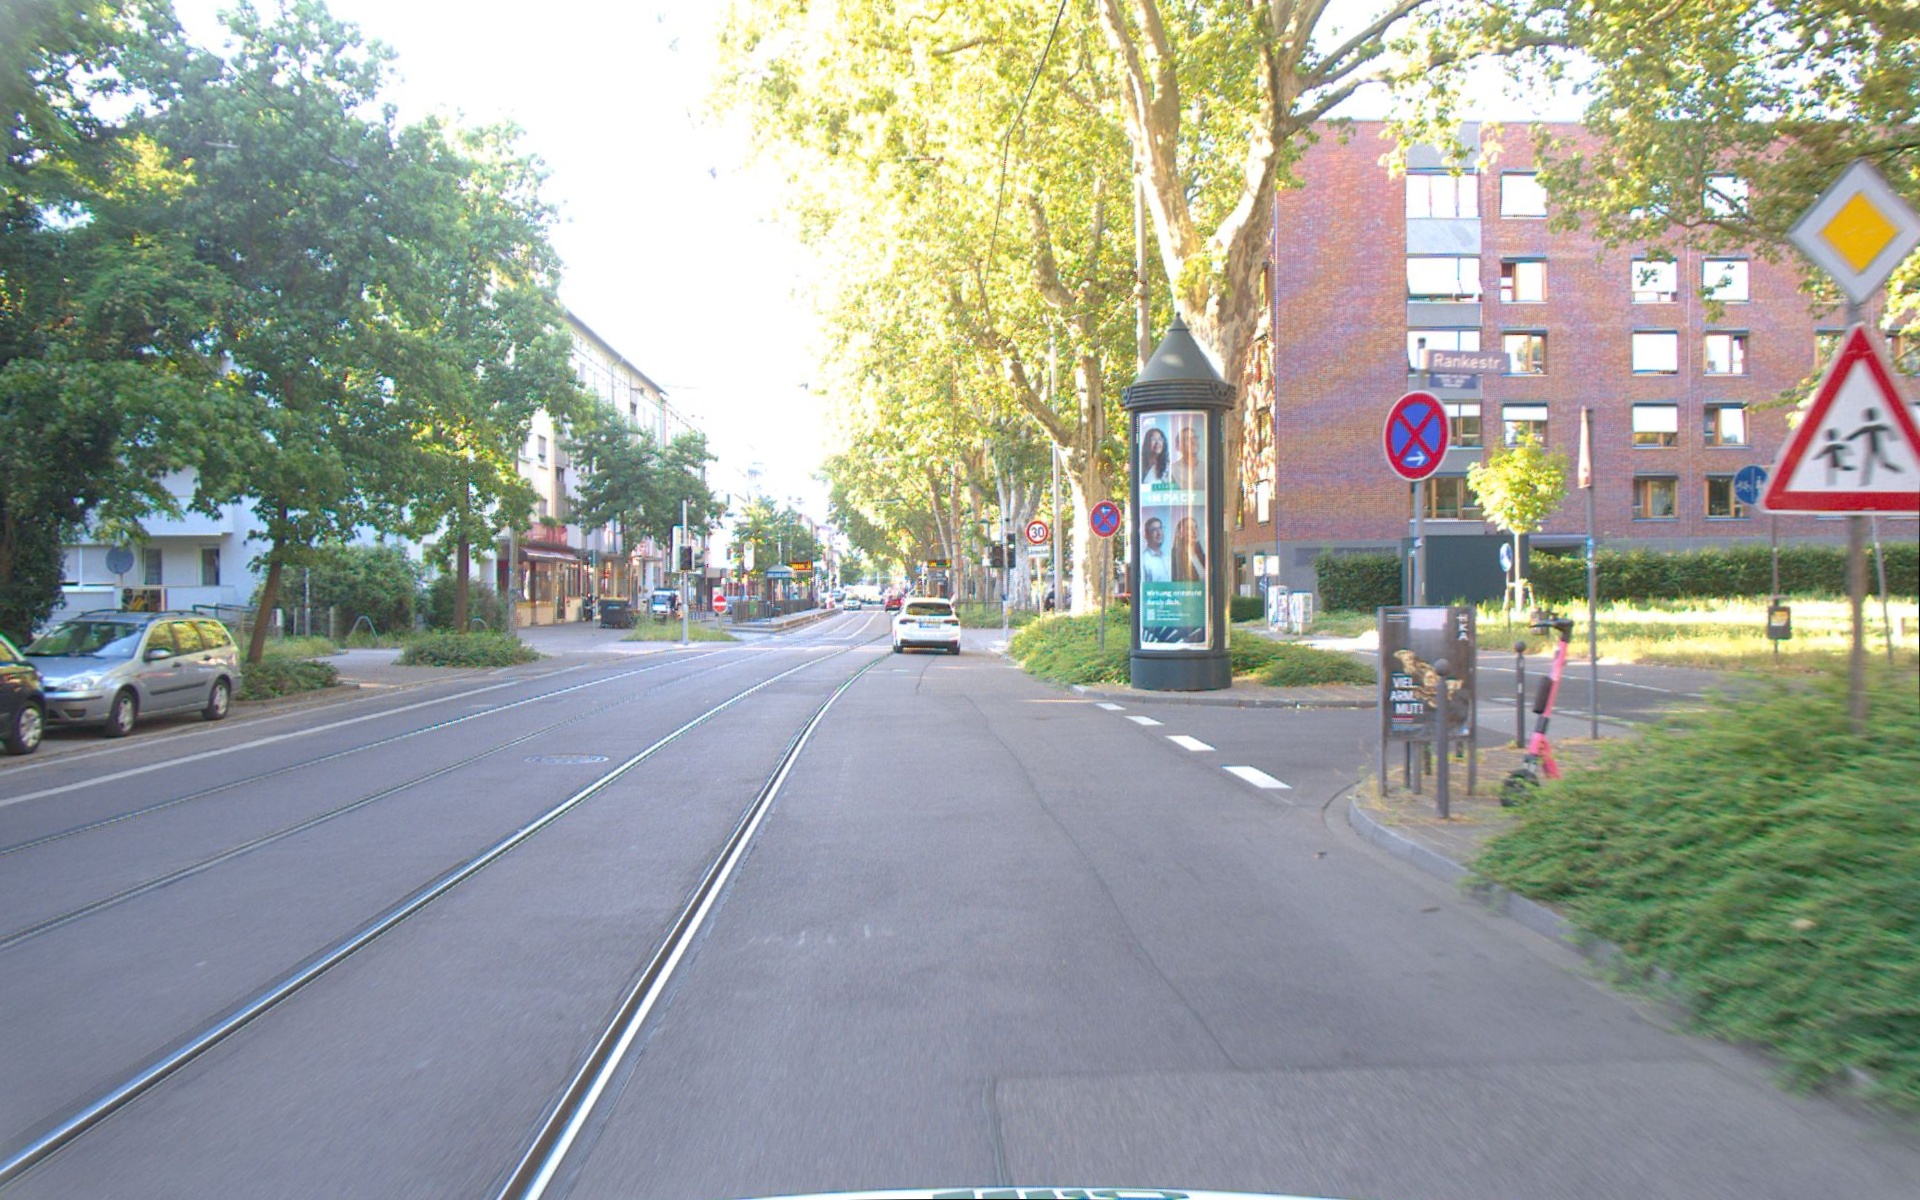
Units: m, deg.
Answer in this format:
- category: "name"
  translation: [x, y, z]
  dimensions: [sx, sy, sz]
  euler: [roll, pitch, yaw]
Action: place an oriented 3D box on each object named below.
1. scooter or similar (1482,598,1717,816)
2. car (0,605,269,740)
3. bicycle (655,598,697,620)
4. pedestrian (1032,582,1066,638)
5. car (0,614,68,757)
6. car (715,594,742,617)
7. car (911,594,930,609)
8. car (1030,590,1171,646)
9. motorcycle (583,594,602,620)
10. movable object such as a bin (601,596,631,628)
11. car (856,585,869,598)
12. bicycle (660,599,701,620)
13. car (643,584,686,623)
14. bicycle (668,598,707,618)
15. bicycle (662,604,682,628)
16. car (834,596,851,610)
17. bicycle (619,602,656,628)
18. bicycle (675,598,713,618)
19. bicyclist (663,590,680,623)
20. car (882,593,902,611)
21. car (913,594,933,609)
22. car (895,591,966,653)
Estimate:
- category: "scooter or similar"
  translation: [3.892, 0.632, 10.113]
  dimensions: [1.184, 1.261, 0.569]
  euler: [-1, 0, -5]
- category: "car"
  translation: [-11.054, 0.878, 22.139]
  dimensions: [1.664, 1.577, 4.536]
  euler: [0, 0, 1]
- category: "bicycle"
  translation: [-15.925, 0.509, 92.839]
  dimensions: [2.207, 1.093, 0.636]
  euler: [3, 0, -2]
- category: "pedestrian"
  translation: [2.997, 0.339, 55.575]
  dimensions: [0.976, 1.842, 0.863]
  euler: [-1, 0, -8]
- category: "car"
  translation: [-10.829, 0.910, 16.746]
  dimensions: [1.625, 1.470, 3.947]
  euler: [0, 0, -3]
- category: "car"
  translation: [-16.629, 0.369, 118.946]
  dimensions: [1.561, 1.575, 3.998]
  euler: [2, 0, -3]
- category: "car"
  translation: [-4.147, 0.127, 173.746]
  dimensions: [1.954, 1.478, 3.998]
  euler: [-1, 0, -3]
- category: "car"
  translation: [3.902, 0.488, 46.268]
  dimensions: [3.805, 1.448, 1.648]
  euler: [-1, 0, 0]
- category: "motorcycle"
  translation: [-19.014, 0.359, 85.636]
  dimensions: [0.587, 1.334, 2.221]
  euler: [-1, 0, -3]
- category: "movable object such as a bin"
  translation: [-15.314, 0.528, 73.637]
  dimensions: [1.147, 1.372, 0.782]
  euler: [3, 0, -7]
- category: "car"
  translation: [-14.053, -1.246, 238.642]
  dimensions: [1.829, 1.925, 3.998]
  euler: [-1, 0, -3]
- category: "bicycle"
  translation: [-15.952, 0.518, 94.486]
  dimensions: [2.207, 1.093, 0.636]
  euler: [3, 0, -2]
- category: "car"
  translation: [-15.497, 0.162, 86.843]
  dimensions: [1.654, 1.974, 3.998]
  euler: [-1, 0, -3]
- category: "bicycle"
  translation: [-16.176, 0.491, 98.175]
  dimensions: [2.207, 1.093, 0.636]
  euler: [3, 0, -2]
- category: "bicycle"
  translation: [-12.955, 0.711, 74.427]
  dimensions: [0.628, 1.004, 2.100]
  euler: [-2, 0, -3]
- category: "car"
  translation: [-12.133, 0.324, 171.195]
  dimensions: [1.660, 1.444, 3.998]
  euler: [-1, 0, -3]
- category: "bicycle"
  translation: [-14.766, 0.691, 75.736]
  dimensions: [1.503, 1.094, 0.885]
  euler: [2, 0, -4]
- category: "bicycle"
  translation: [-16.336, 0.499, 101.747]
  dimensions: [2.207, 1.093, 0.636]
  euler: [3, 0, -2]
- category: "bicyclist"
  translation: [-12.977, 0.288, 74.435]
  dimensions: [0.628, 1.480, 0.836]
  euler: [-2, 0, -3]
- category: "car"
  translation: [-6.020, 0.128, 145.985]
  dimensions: [1.752, 1.540, 3.998]
  euler: [-1, 0, -3]
- category: "car"
  translation: [-3.746, 0.135, 168.676]
  dimensions: [1.954, 1.478, 3.998]
  euler: [-1, 0, -3]
- category: "car"
  translation: [-0.829, 0.540, 43.990]
  dimensions: [1.752, 1.540, 3.998]
  euler: [-1, 0, -3]
